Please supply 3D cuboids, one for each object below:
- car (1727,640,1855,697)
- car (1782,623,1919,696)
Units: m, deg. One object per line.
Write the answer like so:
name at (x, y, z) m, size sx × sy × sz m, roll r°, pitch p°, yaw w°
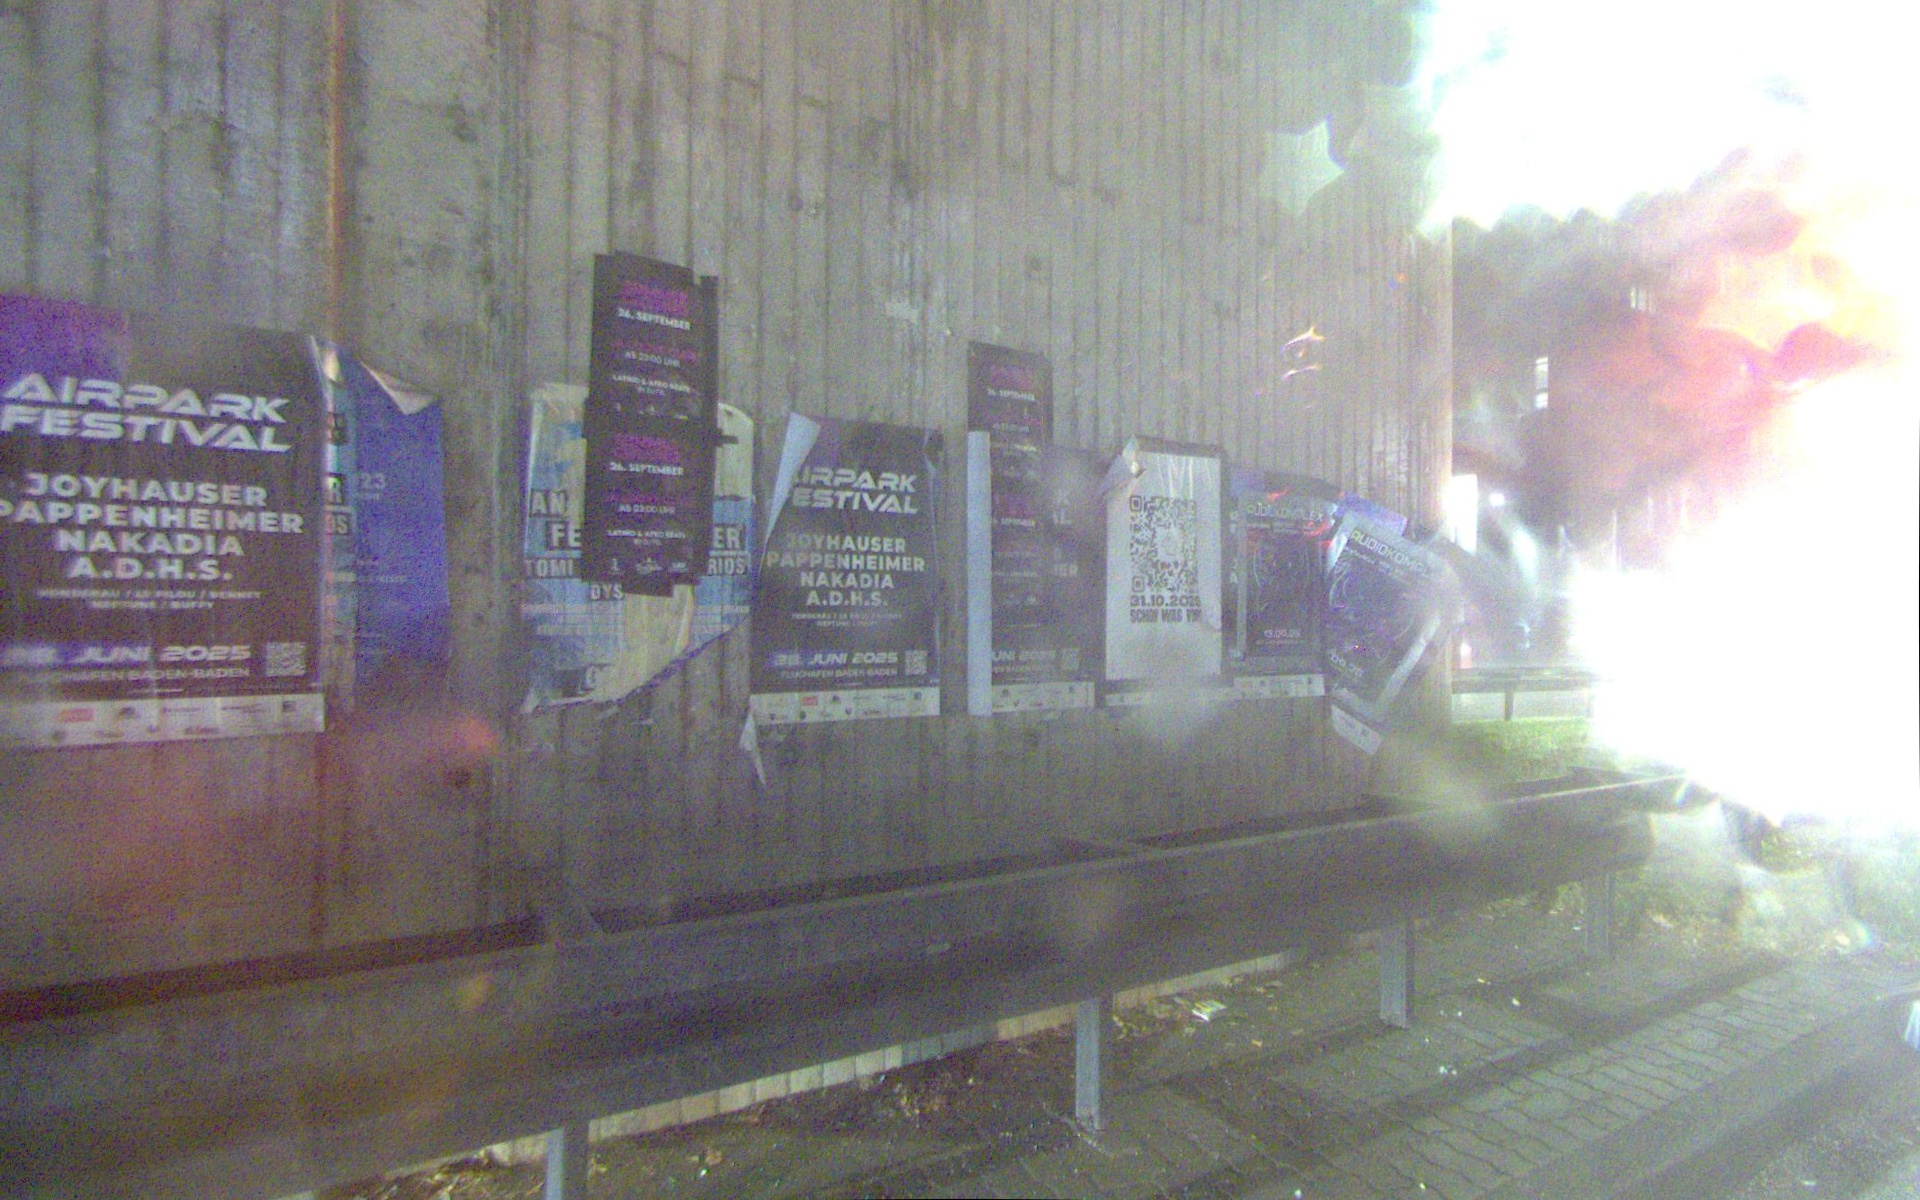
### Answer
car at (25.576, 2.072, 30.903) m, size 3.953 × 1.585 × 1.792 m, roll 2°, pitch -1°, yaw -30°
car at (23.031, 1.508, 25.798) m, size 4.451 × 1.731 × 1.740 m, roll 2°, pitch -3°, yaw -33°
